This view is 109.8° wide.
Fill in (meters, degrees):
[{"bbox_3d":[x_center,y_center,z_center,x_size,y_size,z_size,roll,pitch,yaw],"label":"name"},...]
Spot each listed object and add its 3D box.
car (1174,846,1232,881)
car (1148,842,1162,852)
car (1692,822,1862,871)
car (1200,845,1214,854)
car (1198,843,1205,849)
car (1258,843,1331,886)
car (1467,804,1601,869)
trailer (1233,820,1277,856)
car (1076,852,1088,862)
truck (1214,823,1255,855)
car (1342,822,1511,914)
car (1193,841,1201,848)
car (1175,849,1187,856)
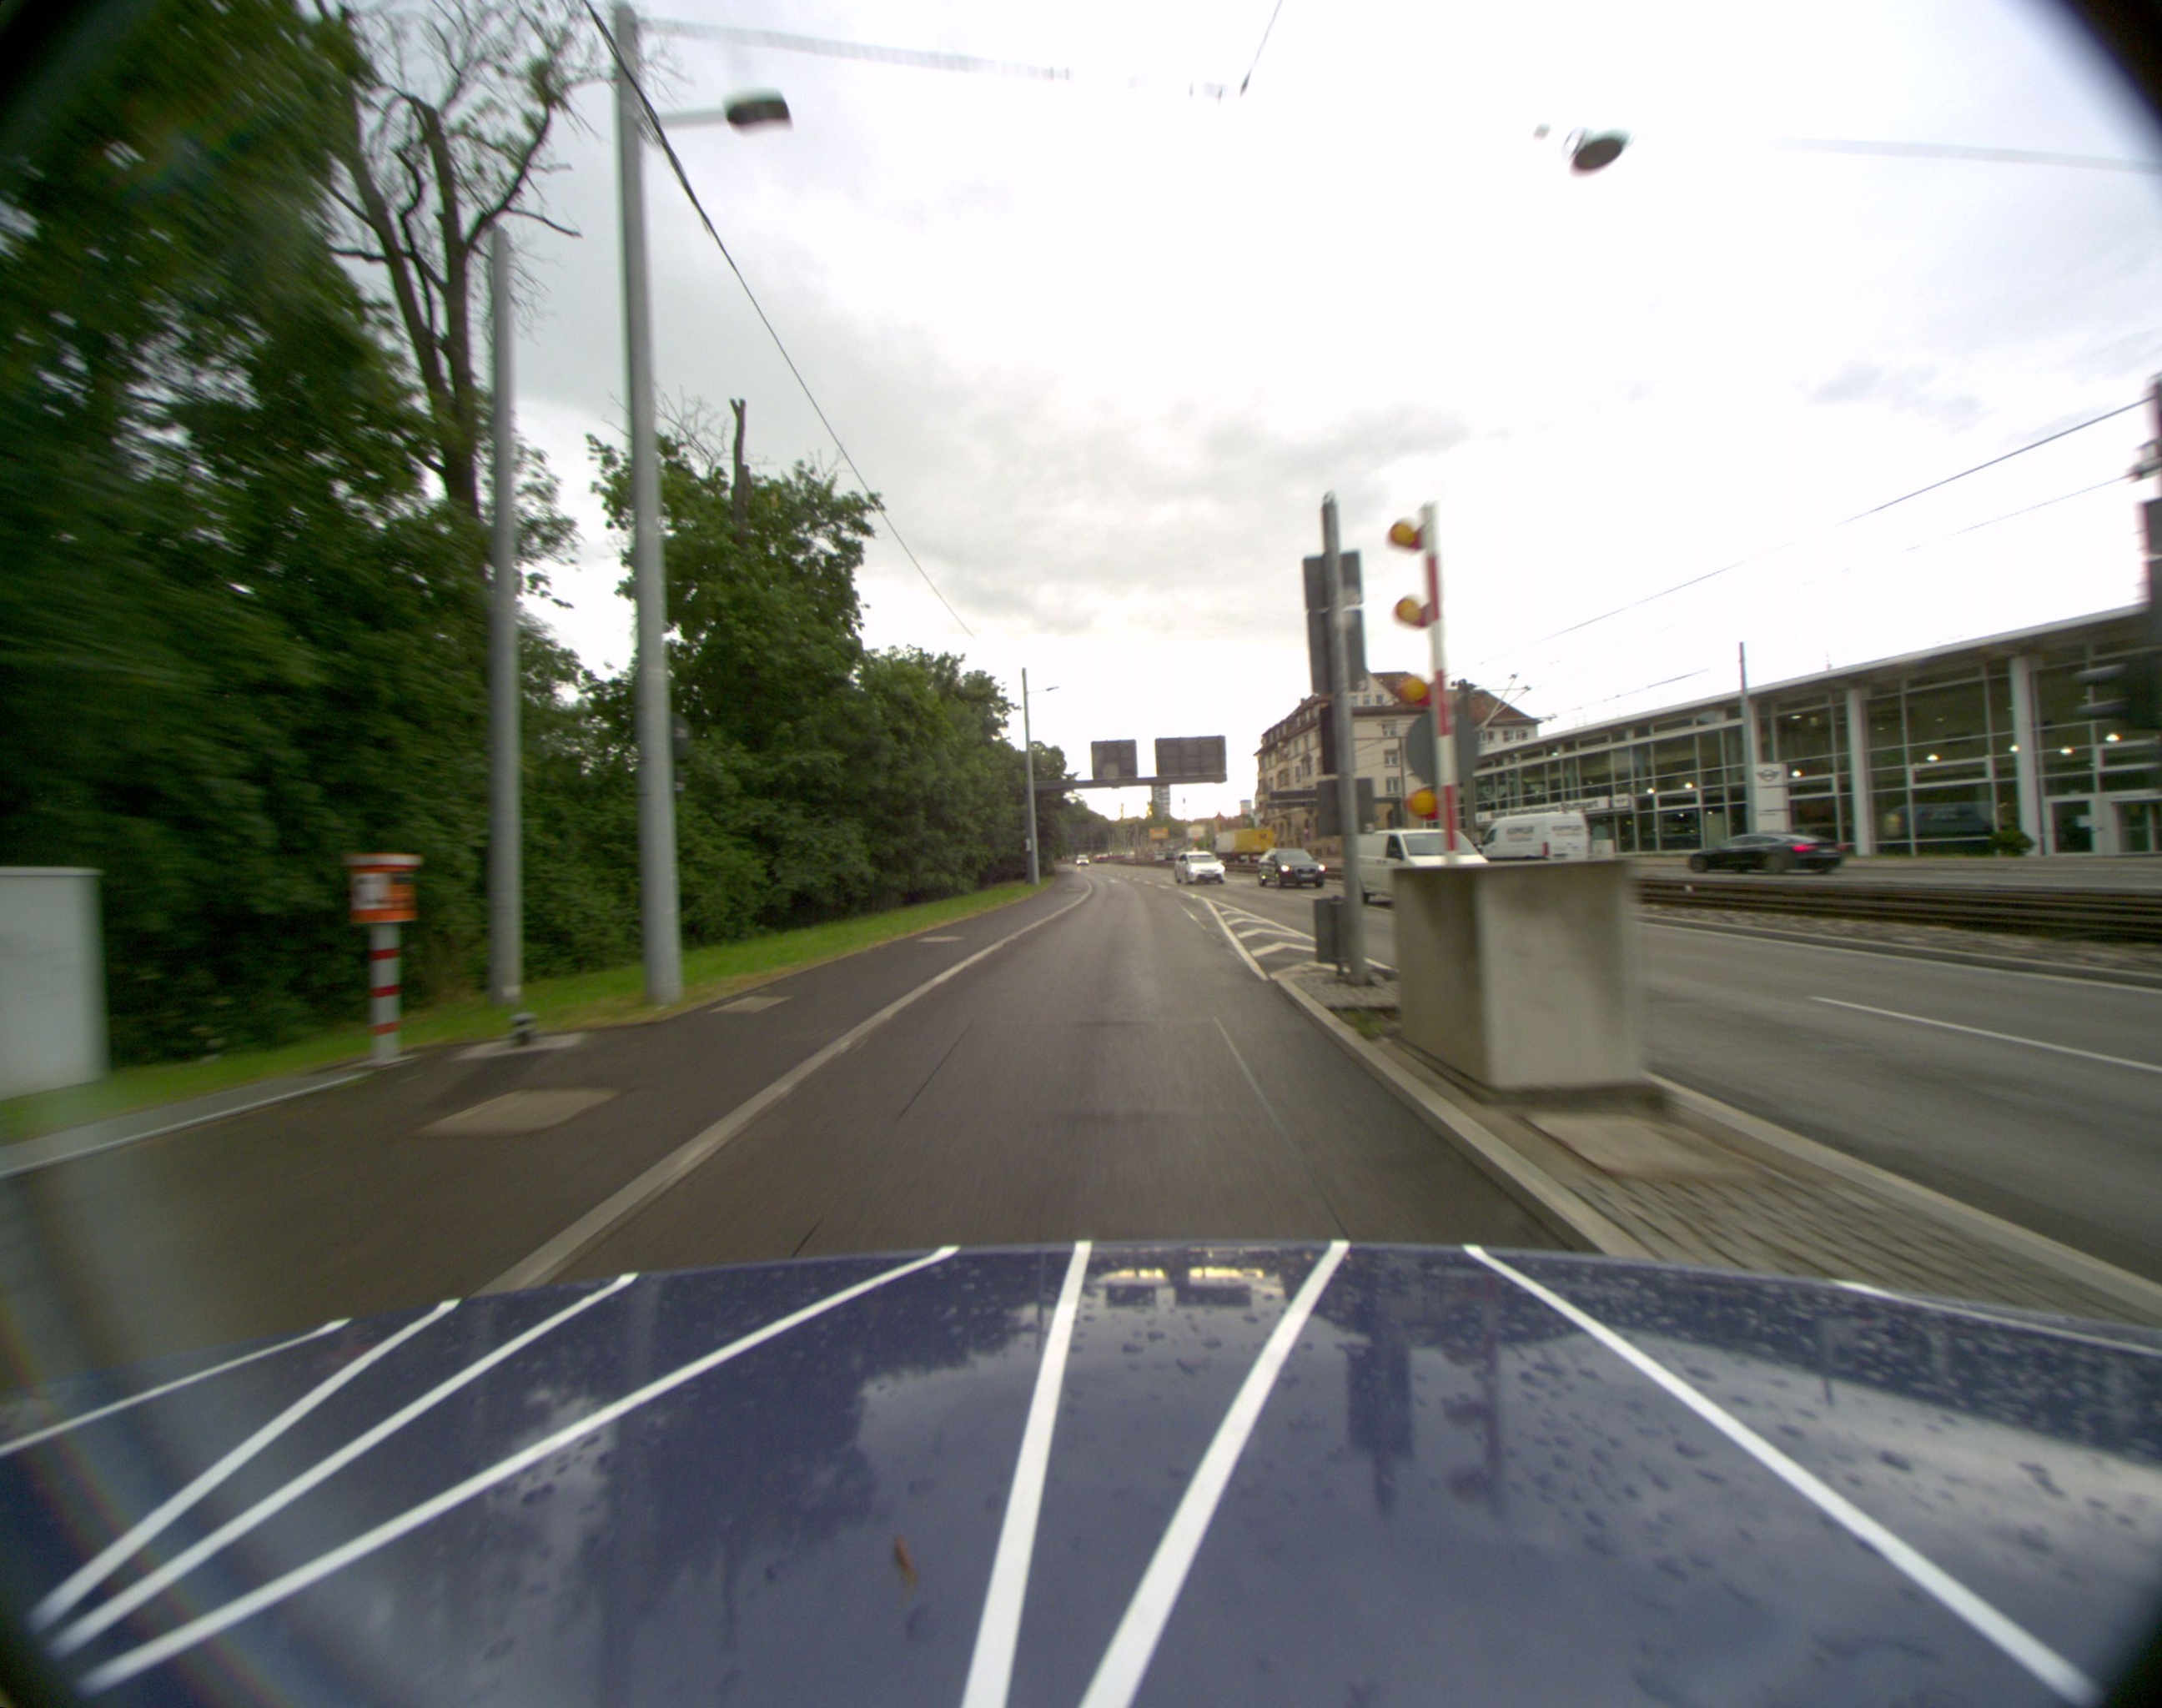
[{"bbox_3d":[6.011,0.440,37.905,1.982,1.564,4.318,-2,0,-2],"label":"car"},{"bbox_3d":[14.735,-1.287,151.442,1.999,1.863,5.191,-2,0,-3],"label":"car"},{"bbox_3d":[23.802,-0.242,26.227,1.746,1.507,4.339,-2,0,-3],"label":"car"},{"bbox_3d":[22.901,-0.827,138.287,1.685,1.396,3.850,-2,0,-2],"label":"car"},{"bbox_3d":[36.309,-2.333,229.369,1.834,1.787,4.219,-1,0,12],"label":"car"},{"bbox_3d":[8.544,0.410,30.736,1.709,1.564,3.895,-2,0,-2],"label":"car"},{"bbox_3d":[20.260,-0.720,34.444,2.057,2.583,6.163,-3,0,-3],"label":"car"},{"bbox_3d":[20.701,-1.819,90.928,2.690,4.028,9.080,-2,0,-3],"label":"trailer"},{"bbox_3d":[0.133,0.510,122.534,1.710,1.585,3.999,-3,0,-2],"label":"car"},{"bbox_3d":[20.157,-1.886,100.539,2.690,4.028,10.139,-2,0,-3],"label":"truck"},{"bbox_3d":[8.413,0.305,19.059,1.914,1.947,4.717,-2,0,-2],"label":"car"},{"bbox_3d":[39.852,-3.238,260.387,2.335,2.453,7.031,-2,1,10],"label":"car"},{"bbox_3d":[19.494,-0.293,148.568,1.610,1.425,4.330,-2,0,-2],"label":"car"}]
